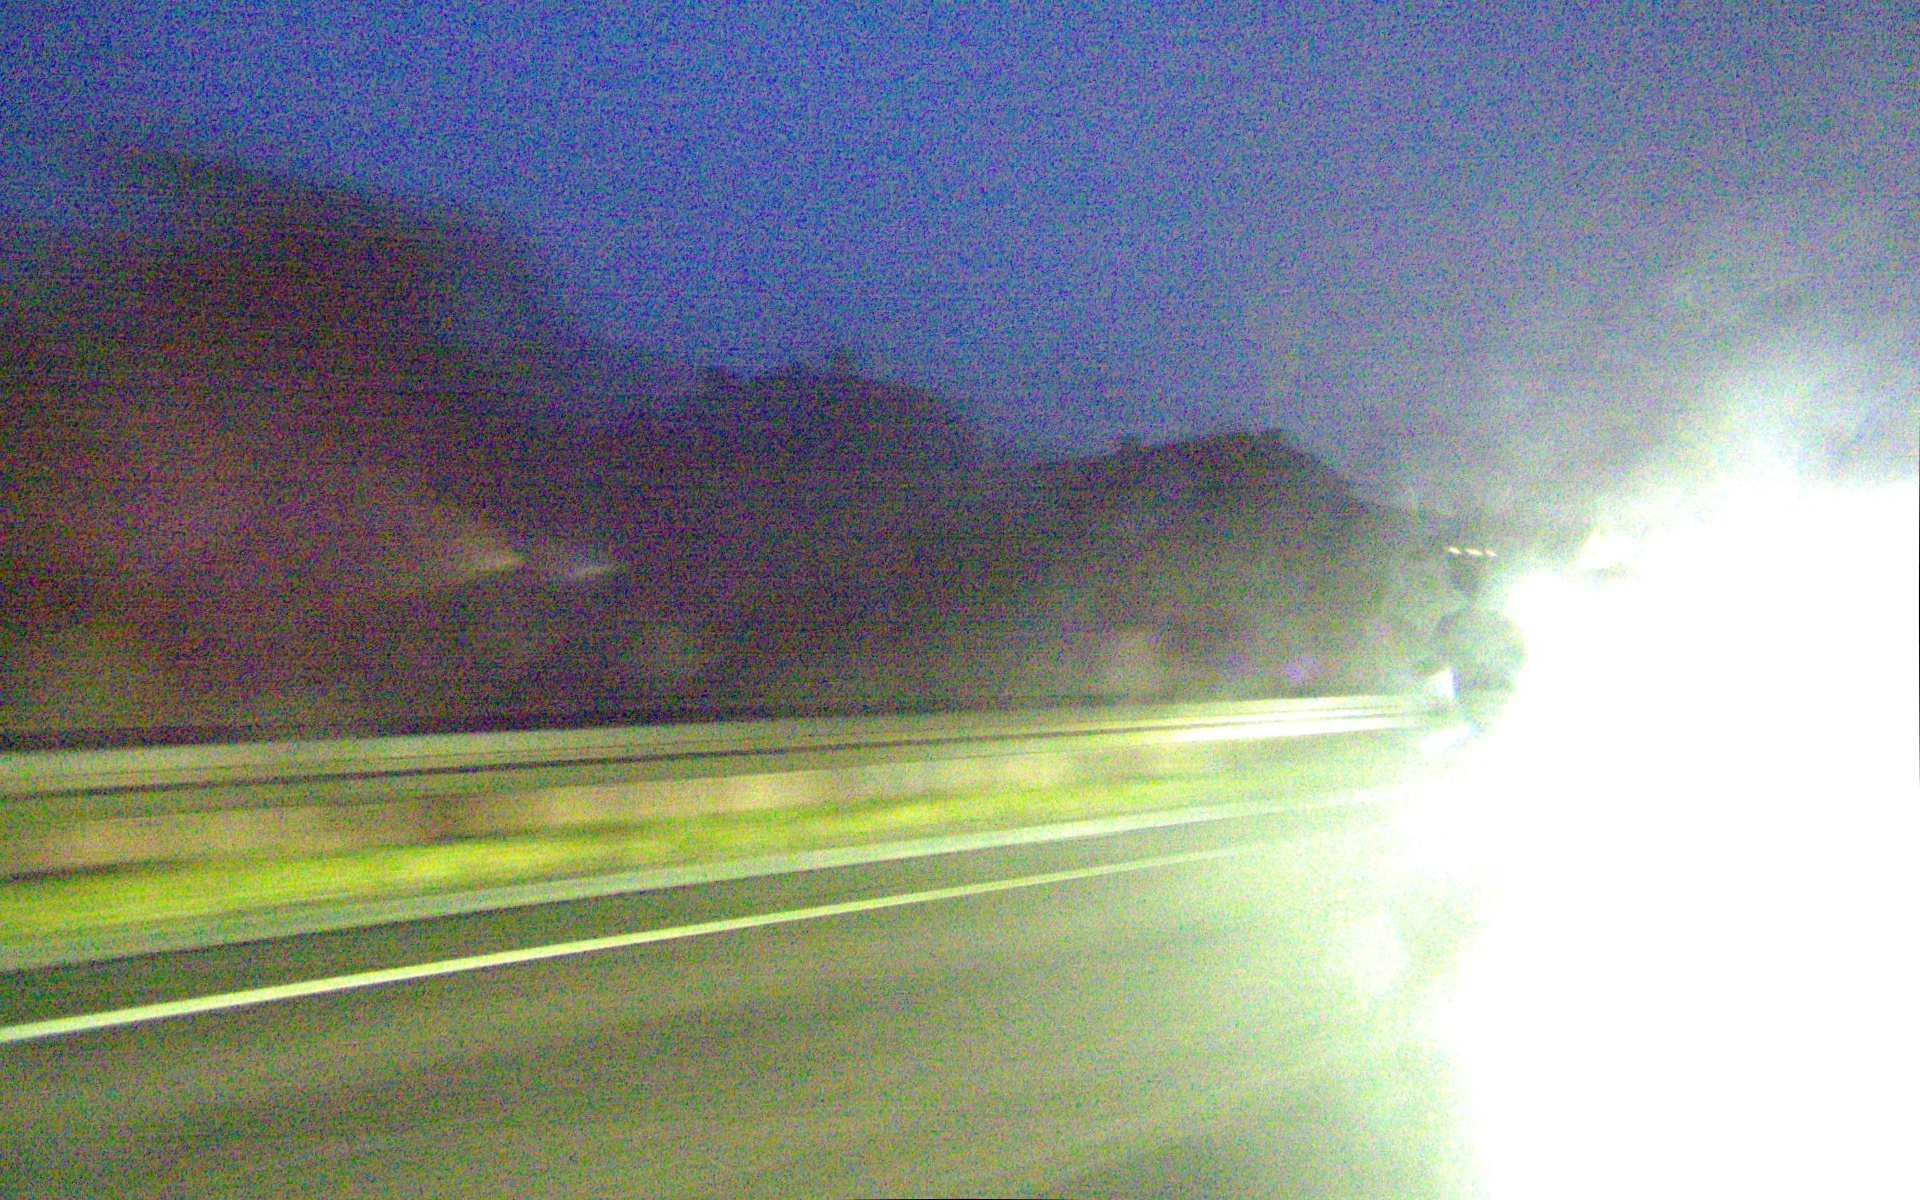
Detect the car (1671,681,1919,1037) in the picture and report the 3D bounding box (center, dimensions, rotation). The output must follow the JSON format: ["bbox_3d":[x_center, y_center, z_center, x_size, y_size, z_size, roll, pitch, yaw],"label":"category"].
[{"bbox_3d":[7.573,1.803,7.906,3.959,2.040,1.981,1,0,-35],"label":"car"}]
